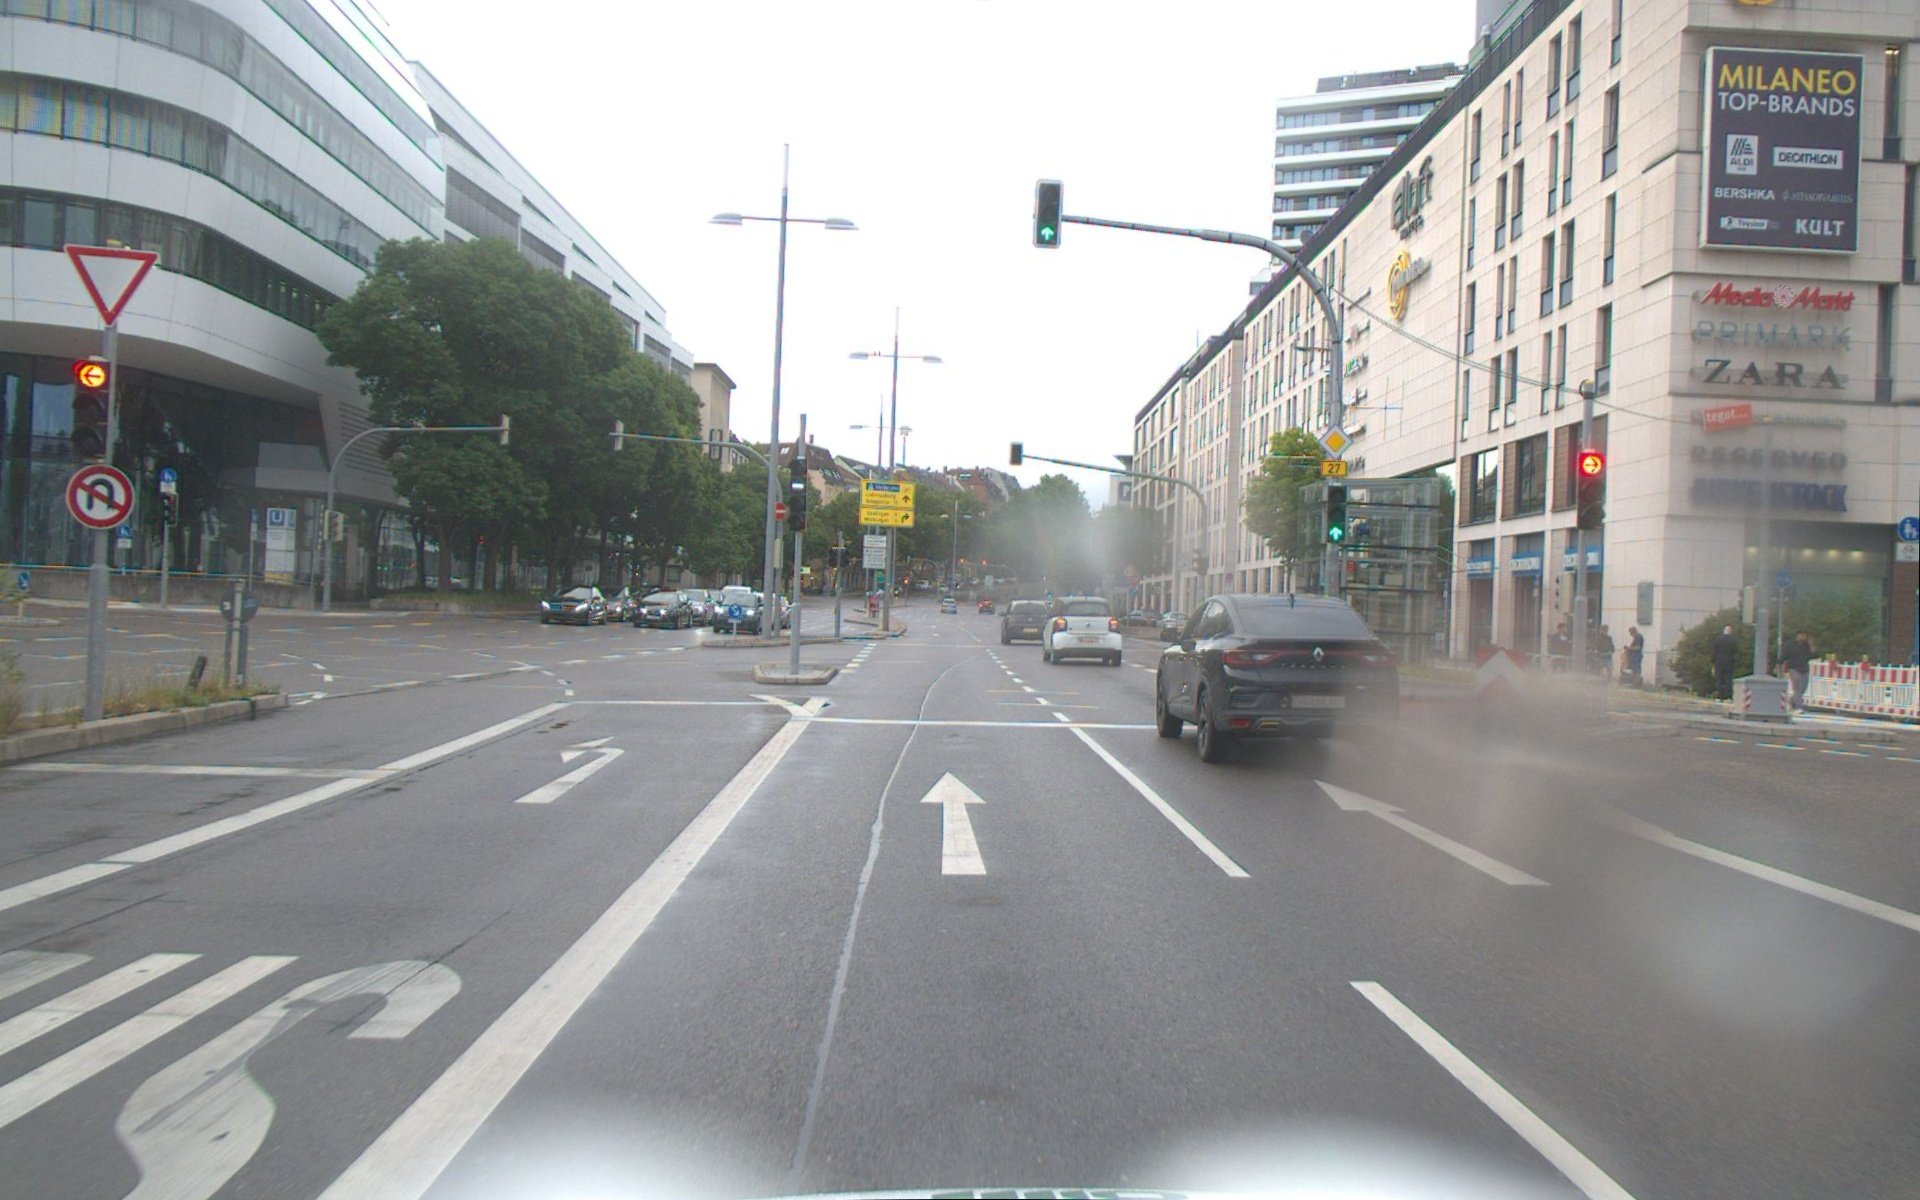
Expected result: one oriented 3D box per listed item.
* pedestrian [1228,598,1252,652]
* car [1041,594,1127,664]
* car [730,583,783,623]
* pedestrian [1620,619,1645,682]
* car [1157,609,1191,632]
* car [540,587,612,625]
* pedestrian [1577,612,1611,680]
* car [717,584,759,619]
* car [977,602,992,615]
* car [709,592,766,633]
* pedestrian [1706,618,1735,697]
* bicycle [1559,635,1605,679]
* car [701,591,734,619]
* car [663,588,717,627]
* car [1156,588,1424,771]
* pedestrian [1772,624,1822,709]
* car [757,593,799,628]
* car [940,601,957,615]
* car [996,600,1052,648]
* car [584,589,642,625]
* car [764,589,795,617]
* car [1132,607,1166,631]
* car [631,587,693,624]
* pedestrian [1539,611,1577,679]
[{"bbox_3d":[9.634,0.864,56.989,0.712,1.864,0.510,1,-1,-1],"label":"pedestrian"},{"bbox_3d":[2.870,0.665,39.030,1.689,1.558,3.813,1,0,-1],"label":"car"},{"bbox_3d":[-8.395,0.120,68.589,1.668,1.586,4.244,1,0,-1],"label":"car"},{"bbox_3d":[17.939,1.341,44.089,0.581,1.671,0.587,1,-1,24],"label":"pedestrian"},{"bbox_3d":[12.310,1.181,95.169,1.475,1.288,3.502,1,0,-1],"label":"car"},{"bbox_3d":[-14.316,0.236,61.820,1.707,1.352,4.225,1,0,-1],"label":"car"},{"bbox_3d":[15.506,1.125,40.438,0.539,1.639,0.698,1,-1,-1],"label":"pedestrian"},{"bbox_3d":[-11.525,0.087,86.055,1.707,1.779,3.539,1,0,-1],"label":"car"},{"bbox_3d":[3.021,1.087,201.532,1.704,1.558,3.813,1,0,-1],"label":"car"},{"bbox_3d":[-8.348,0.469,62.240,1.708,1.470,3.394,1,0,-1],"label":"car"},{"bbox_3d":[17.767,1.334,38.637,0.581,1.811,0.441,1,-1,23],"label":"pedestrian"},{"bbox_3d":[15.247,1.381,40.575,0.440,1.033,1.742,1,0,-1],"label":"bicycle"},{"bbox_3d":[-16.208,0.340,110.648,1.707,1.779,3.539,1,0,-1],"label":"car"},{"bbox_3d":[-11.465,0.338,70.377,1.707,1.586,3.539,1,0,-1],"label":"car"},{"bbox_3d":[3.138,0.677,16.603,1.754,1.533,4.338,1,1,-1],"label":"car"},{"bbox_3d":[17.187,1.359,33.973,0.608,1.701,0.824,1,-1,-1],"label":"pedestrian"},{"bbox_3d":[-8.236,0.470,75.000,1.507,1.503,3.695,1,0,-1],"label":"car"},{"bbox_3d":[-1.308,0.899,189.083,1.706,1.558,3.810,1,1,-5],"label":"car"},{"bbox_3d":[2.141,0.795,56.391,1.704,1.558,3.813,1,0,-1],"label":"car"},{"bbox_3d":[-14.733,0.296,70.306,1.707,1.448,3.539,1,0,-1],"label":"car"},{"bbox_3d":[-12.175,0.218,111.837,1.707,1.779,3.539,1,0,-1],"label":"car"},{"bbox_3d":[11.490,1.129,100.692,1.627,1.425,3.832,1,0,-1],"label":"car"},{"bbox_3d":[-11.449,0.185,63.731,1.708,1.279,3.539,2,1,-1],"label":"car"},{"bbox_3d":[14.545,1.082,40.264,0.600,1.639,0.818,1,-1,-1],"label":"pedestrian"}]
